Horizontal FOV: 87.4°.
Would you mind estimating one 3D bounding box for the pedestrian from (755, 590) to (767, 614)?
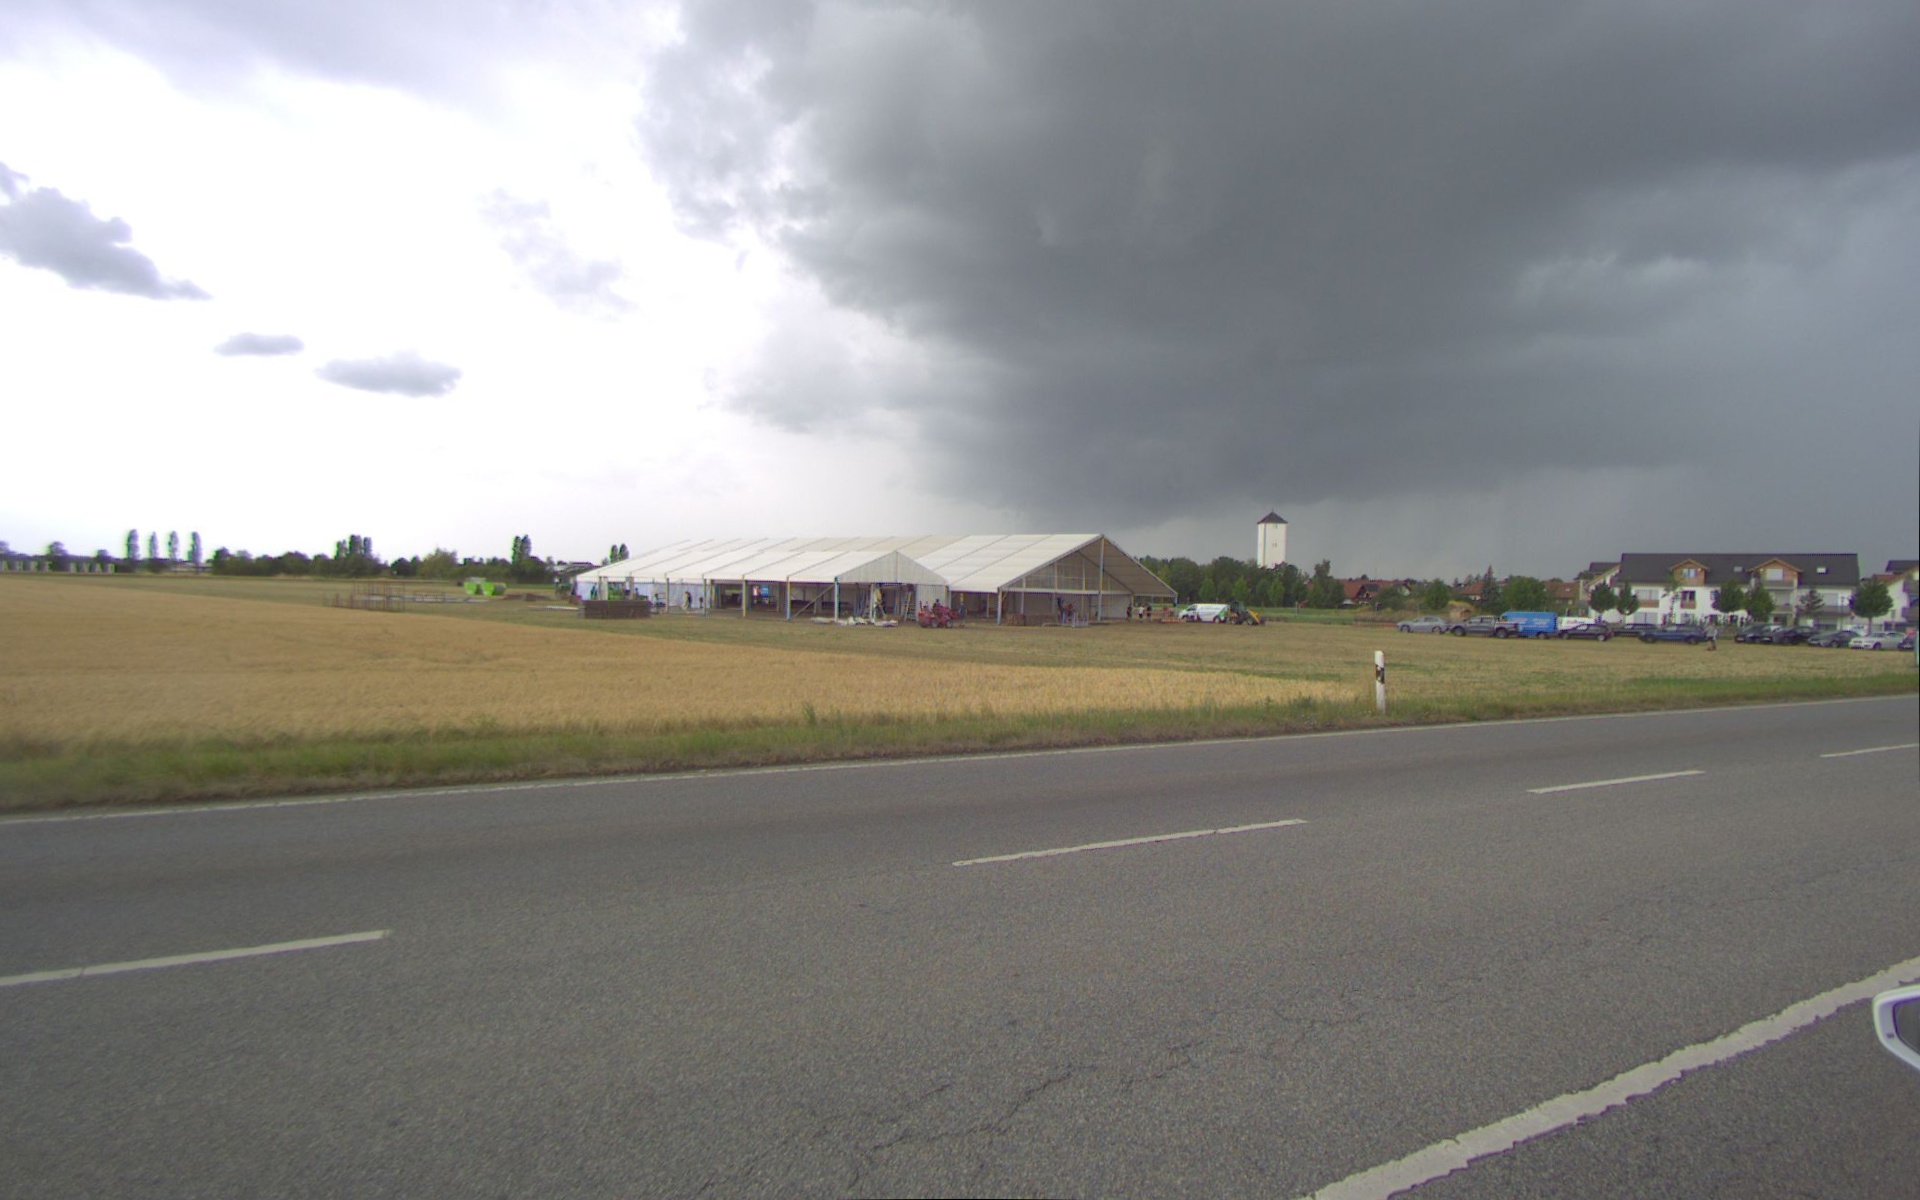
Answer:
[{"bbox_3d":[-17.911,0.138,90.397,0.927,2.130,0.863,1,0,-21],"label":"pedestrian"}]

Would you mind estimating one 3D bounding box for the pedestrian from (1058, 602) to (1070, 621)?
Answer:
[{"bbox_3d":[9.644,1.073,92.938,0.721,1.803,0.756,2,0,40],"label":"pedestrian"}]

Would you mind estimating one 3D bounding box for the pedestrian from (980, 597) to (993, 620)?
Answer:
[{"bbox_3d":[2.432,0.805,91.528,0.757,2.040,0.873,2,0,41],"label":"pedestrian"}]

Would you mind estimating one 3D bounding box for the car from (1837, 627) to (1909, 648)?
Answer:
[{"bbox_3d":[69.101,2.824,76.066,4.137,1.465,1.996,1,0,-12],"label":"car"}]

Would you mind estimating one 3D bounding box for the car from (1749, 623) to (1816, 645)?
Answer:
[{"bbox_3d":[66.828,2.725,81.632,4.137,1.650,1.996,1,0,-12],"label":"car"}]

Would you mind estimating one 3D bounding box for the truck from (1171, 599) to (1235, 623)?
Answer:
[{"bbox_3d":[25.169,1.127,104.105,5.961,2.246,2.713,1,0,34],"label":"truck"}]

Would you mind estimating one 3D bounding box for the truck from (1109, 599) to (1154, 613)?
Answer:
[{"bbox_3d":[36.690,1.280,215.402,9.240,2.563,3.282,2,0,42],"label":"truck"}]

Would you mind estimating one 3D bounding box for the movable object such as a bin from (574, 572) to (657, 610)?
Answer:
[{"bbox_3d":[-32.623,-0.876,95.062,7.467,3.219,4.139,3,1,40],"label":"movable object such as a bin"}]

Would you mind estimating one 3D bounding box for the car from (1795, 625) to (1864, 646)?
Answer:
[{"bbox_3d":[68.079,2.782,78.674,4.137,1.556,1.996,1,0,-12],"label":"car"}]

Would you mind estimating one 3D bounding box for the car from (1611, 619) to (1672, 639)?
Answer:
[{"bbox_3d":[64.241,2.731,94.677,4.571,1.719,1.990,1,0,41],"label":"car"}]

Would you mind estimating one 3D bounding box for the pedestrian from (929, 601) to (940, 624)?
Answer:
[{"bbox_3d":[-1.870,0.912,73.250,0.577,1.649,0.467,1,0,-30],"label":"pedestrian"}]

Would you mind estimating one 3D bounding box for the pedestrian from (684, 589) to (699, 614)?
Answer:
[{"bbox_3d":[-22.324,0.161,83.464,1.006,2.040,0.806,2,0,-4],"label":"pedestrian"}]

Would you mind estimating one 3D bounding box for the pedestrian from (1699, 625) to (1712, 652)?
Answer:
[{"bbox_3d":[51.184,2.618,68.981,0.673,1.809,0.543,1,0,-42],"label":"pedestrian"}]

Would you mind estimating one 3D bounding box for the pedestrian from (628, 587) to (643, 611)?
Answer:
[{"bbox_3d":[-27.901,-0.087,86.399,1.010,2.040,0.803,2,0,41],"label":"pedestrian"}]

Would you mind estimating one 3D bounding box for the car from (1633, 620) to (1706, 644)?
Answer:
[{"bbox_3d":[57.934,2.609,82.033,4.660,1.719,1.990,1,0,41],"label":"car"}]

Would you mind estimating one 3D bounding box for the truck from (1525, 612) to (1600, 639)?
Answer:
[{"bbox_3d":[54.111,2.233,90.214,5.495,2.226,2.597,1,0,38],"label":"truck"}]

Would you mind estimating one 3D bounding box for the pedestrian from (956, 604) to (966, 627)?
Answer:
[{"bbox_3d":[0.098,1.101,71.354,0.535,1.649,0.552,2,0,14],"label":"pedestrian"}]

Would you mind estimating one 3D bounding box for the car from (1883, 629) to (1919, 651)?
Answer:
[{"bbox_3d":[70.155,2.929,73.340,4.137,1.465,1.996,1,0,-12],"label":"car"}]

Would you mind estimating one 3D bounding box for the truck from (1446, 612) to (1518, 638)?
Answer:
[{"bbox_3d":[43.922,2.068,84.495,5.156,1.946,2.106,1,0,34],"label":"truck"}]

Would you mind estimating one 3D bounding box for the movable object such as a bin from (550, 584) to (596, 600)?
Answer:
[{"bbox_3d":[-53.826,-1.138,139.782,2.529,2.040,5.386,2,0,41],"label":"movable object such as a bin"}]

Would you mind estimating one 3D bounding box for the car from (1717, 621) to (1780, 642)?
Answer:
[{"bbox_3d":[67.244,2.709,85.678,4.137,1.650,1.996,1,0,-12],"label":"car"}]

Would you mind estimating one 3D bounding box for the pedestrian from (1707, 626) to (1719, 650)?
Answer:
[{"bbox_3d":[52.017,2.617,69.365,0.582,1.576,0.623,2,0,41],"label":"pedestrian"}]

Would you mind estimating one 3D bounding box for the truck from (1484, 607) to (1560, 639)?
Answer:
[{"bbox_3d":[47.997,1.935,85.844,5.379,2.478,2.384,1,0,38],"label":"truck"}]

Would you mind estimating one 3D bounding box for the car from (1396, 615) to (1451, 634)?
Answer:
[{"bbox_3d":[41.922,2.205,90.877,4.236,1.481,1.886,1,0,34],"label":"car"}]

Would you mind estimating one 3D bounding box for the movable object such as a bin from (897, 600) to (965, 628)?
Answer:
[{"bbox_3d":[-1.992,0.984,70.091,2.556,1.889,4.457,1,0,37],"label":"movable object such as a bin"}]

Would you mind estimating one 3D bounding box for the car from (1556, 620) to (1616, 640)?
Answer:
[{"bbox_3d":[53.389,2.546,85.724,4.106,1.539,1.990,1,0,40],"label":"car"}]

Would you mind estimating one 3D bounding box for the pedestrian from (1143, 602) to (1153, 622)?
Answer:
[{"bbox_3d":[18.230,1.178,97.213,0.699,1.890,0.622,1,0,-26],"label":"pedestrian"}]

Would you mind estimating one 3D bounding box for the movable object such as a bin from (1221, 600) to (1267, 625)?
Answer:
[{"bbox_3d":[27.696,1.239,98.016,3.929,2.273,1.881,1,0,33],"label":"movable object such as a bin"}]

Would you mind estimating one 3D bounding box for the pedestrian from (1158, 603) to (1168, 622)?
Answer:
[{"bbox_3d":[19.677,1.191,97.266,0.680,1.799,0.691,2,0,41],"label":"pedestrian"}]

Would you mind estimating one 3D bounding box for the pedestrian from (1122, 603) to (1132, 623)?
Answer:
[{"bbox_3d":[15.576,1.221,93.786,0.684,1.799,0.688,2,0,37],"label":"pedestrian"}]

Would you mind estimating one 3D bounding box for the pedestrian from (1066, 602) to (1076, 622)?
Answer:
[{"bbox_3d":[10.192,1.096,92.162,0.646,1.767,0.724,2,0,40],"label":"pedestrian"}]
